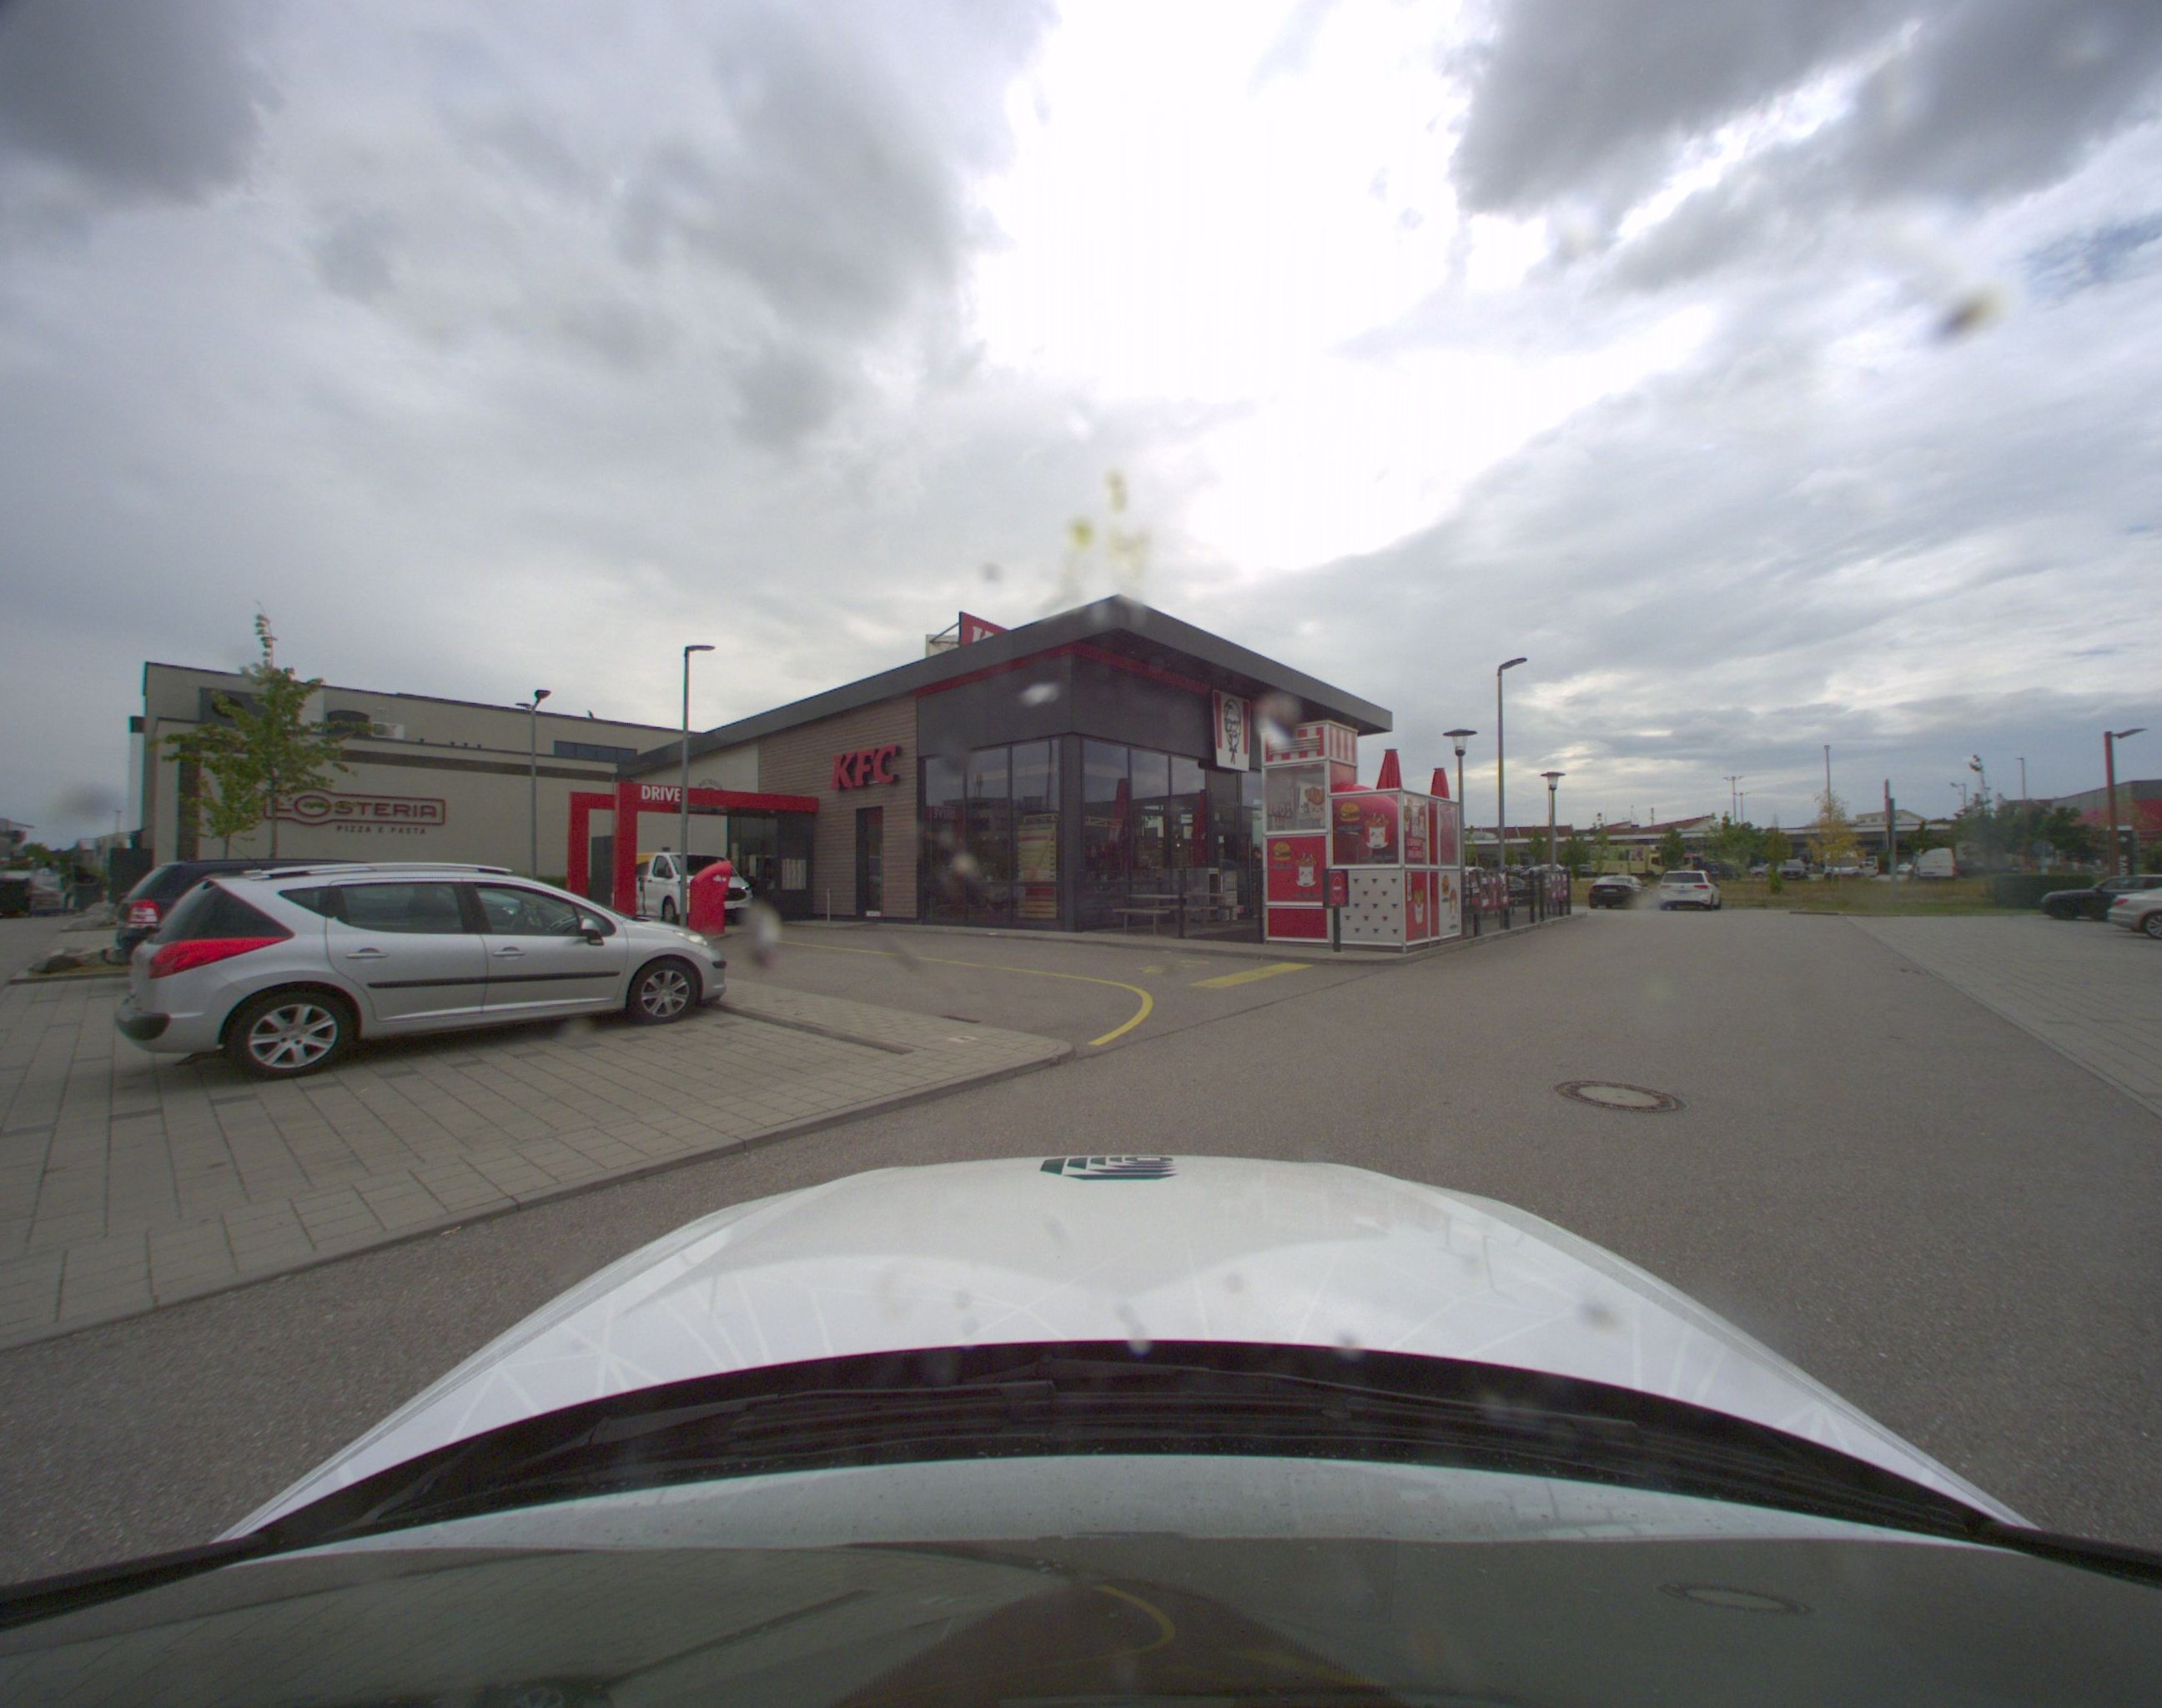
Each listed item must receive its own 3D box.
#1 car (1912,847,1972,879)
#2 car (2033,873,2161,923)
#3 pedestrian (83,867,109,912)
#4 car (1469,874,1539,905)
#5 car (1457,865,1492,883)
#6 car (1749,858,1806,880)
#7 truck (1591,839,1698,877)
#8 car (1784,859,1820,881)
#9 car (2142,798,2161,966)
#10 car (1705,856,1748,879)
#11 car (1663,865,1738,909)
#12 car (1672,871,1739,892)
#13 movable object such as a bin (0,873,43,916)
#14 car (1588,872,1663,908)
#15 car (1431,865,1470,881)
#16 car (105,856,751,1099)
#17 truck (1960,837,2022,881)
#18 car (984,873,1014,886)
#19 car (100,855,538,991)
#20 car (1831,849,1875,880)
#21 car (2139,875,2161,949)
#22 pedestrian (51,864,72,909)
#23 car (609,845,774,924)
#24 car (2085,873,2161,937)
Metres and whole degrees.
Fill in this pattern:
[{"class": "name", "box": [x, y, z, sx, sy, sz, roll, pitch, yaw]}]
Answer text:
[{"class": "car", "box": [64.226, 0.634, 60.865, 2.315, 2.268, 6.547, -2, -1, 40]}, {"class": "car", "box": [31.930, 1.300, 24.527, 1.682, 1.412, 3.916, 1, -1, -10]}, {"class": "pedestrian", "box": [-37.336, 1.329, 30.875, 0.384, 1.684, 0.577, -2, -1, 35]}, {"class": "car", "box": [20.492, 1.736, 39.370, 1.865, 1.412, 4.094, -1, -3, 44]}, {"class": "car", "box": [42.409, 2.149, 87.742, 4.345, 1.772, 1.976, -1, -1, -43]}, {"class": "car", "box": [67.414, 1.436, 78.928, 3.948, 2.014, 2.013, -2, -1, 35]}, {"class": "truck", "box": [51.621, 0.418, 74.959, 3.019, 3.196, 8.404, -1, 0, -9]}, {"class": "car", "box": [58.510, 1.298, 66.063, 2.051, 1.639, 5.101, -1, 0, 42]}, {"class": "car", "box": [17.894, 0.394, 9.264, 2.065, 2.553, 6.992, 0, -1, -8]}, {"class": "car", "box": [55.624, 1.192, 70.113, 5.097, 1.885, 2.053, 1, -2, -42]}, {"class": "car", "box": [25.825, 1.388, 33.907, 1.967, 1.713, 4.397, -1, -3, 44]}, {"class": "car", "box": [42.354, 1.861, 55.270, 1.441, 1.371, 3.417, -1, -1, -44]}, {"class": "movable object such as a bin", "box": [-35.803, 1.348, 27.111, 1.848, 1.350, 1.375, -2, -1, 34]}, {"class": "car", "box": [23.996, 1.590, 35.808, 1.923, 1.467, 4.542, -1, -3, 44]}, {"class": "car", "box": [43.772, 2.238, 96.456, 1.999, 1.772, 3.974, -1, -1, -19]}, {"class": "car", "box": [-5.316, 0.794, 7.187, 1.608, 1.505, 4.194, -2, -2, 39]}, {"class": "truck", "box": [81.745, 0.416, 73.324, 2.622, 3.743, 8.307, -2, -1, 41]}, {"class": "car", "box": [-9.195, 2.843, 91.063, 1.762, 1.469, 4.432, 1, -2, -30]}, {"class": "car", "box": [-10.817, 0.853, 11.929, 1.565, 1.617, 4.514, -2, -2, 39]}, {"class": "car", "box": [60.937, 0.791, 64.387, 2.385, 2.214, 6.096, -1, 0, 42]}, {"class": "car", "box": [22.469, 1.133, 14.374, 1.680, 1.463, 4.396, 0, -1, -7]}, {"class": "pedestrian", "box": [-37.189, 1.183, 29.703, 0.384, 1.645, 0.434, -2, -1, 36]}, {"class": "car", "box": [-10.733, 0.820, 22.275, 5.057, 1.932, 2.295, -2, -2, 42]}, {"class": "car", "box": [25.181, 1.152, 17.396, 1.747, 1.412, 4.447, 0, -1, -8]}]
